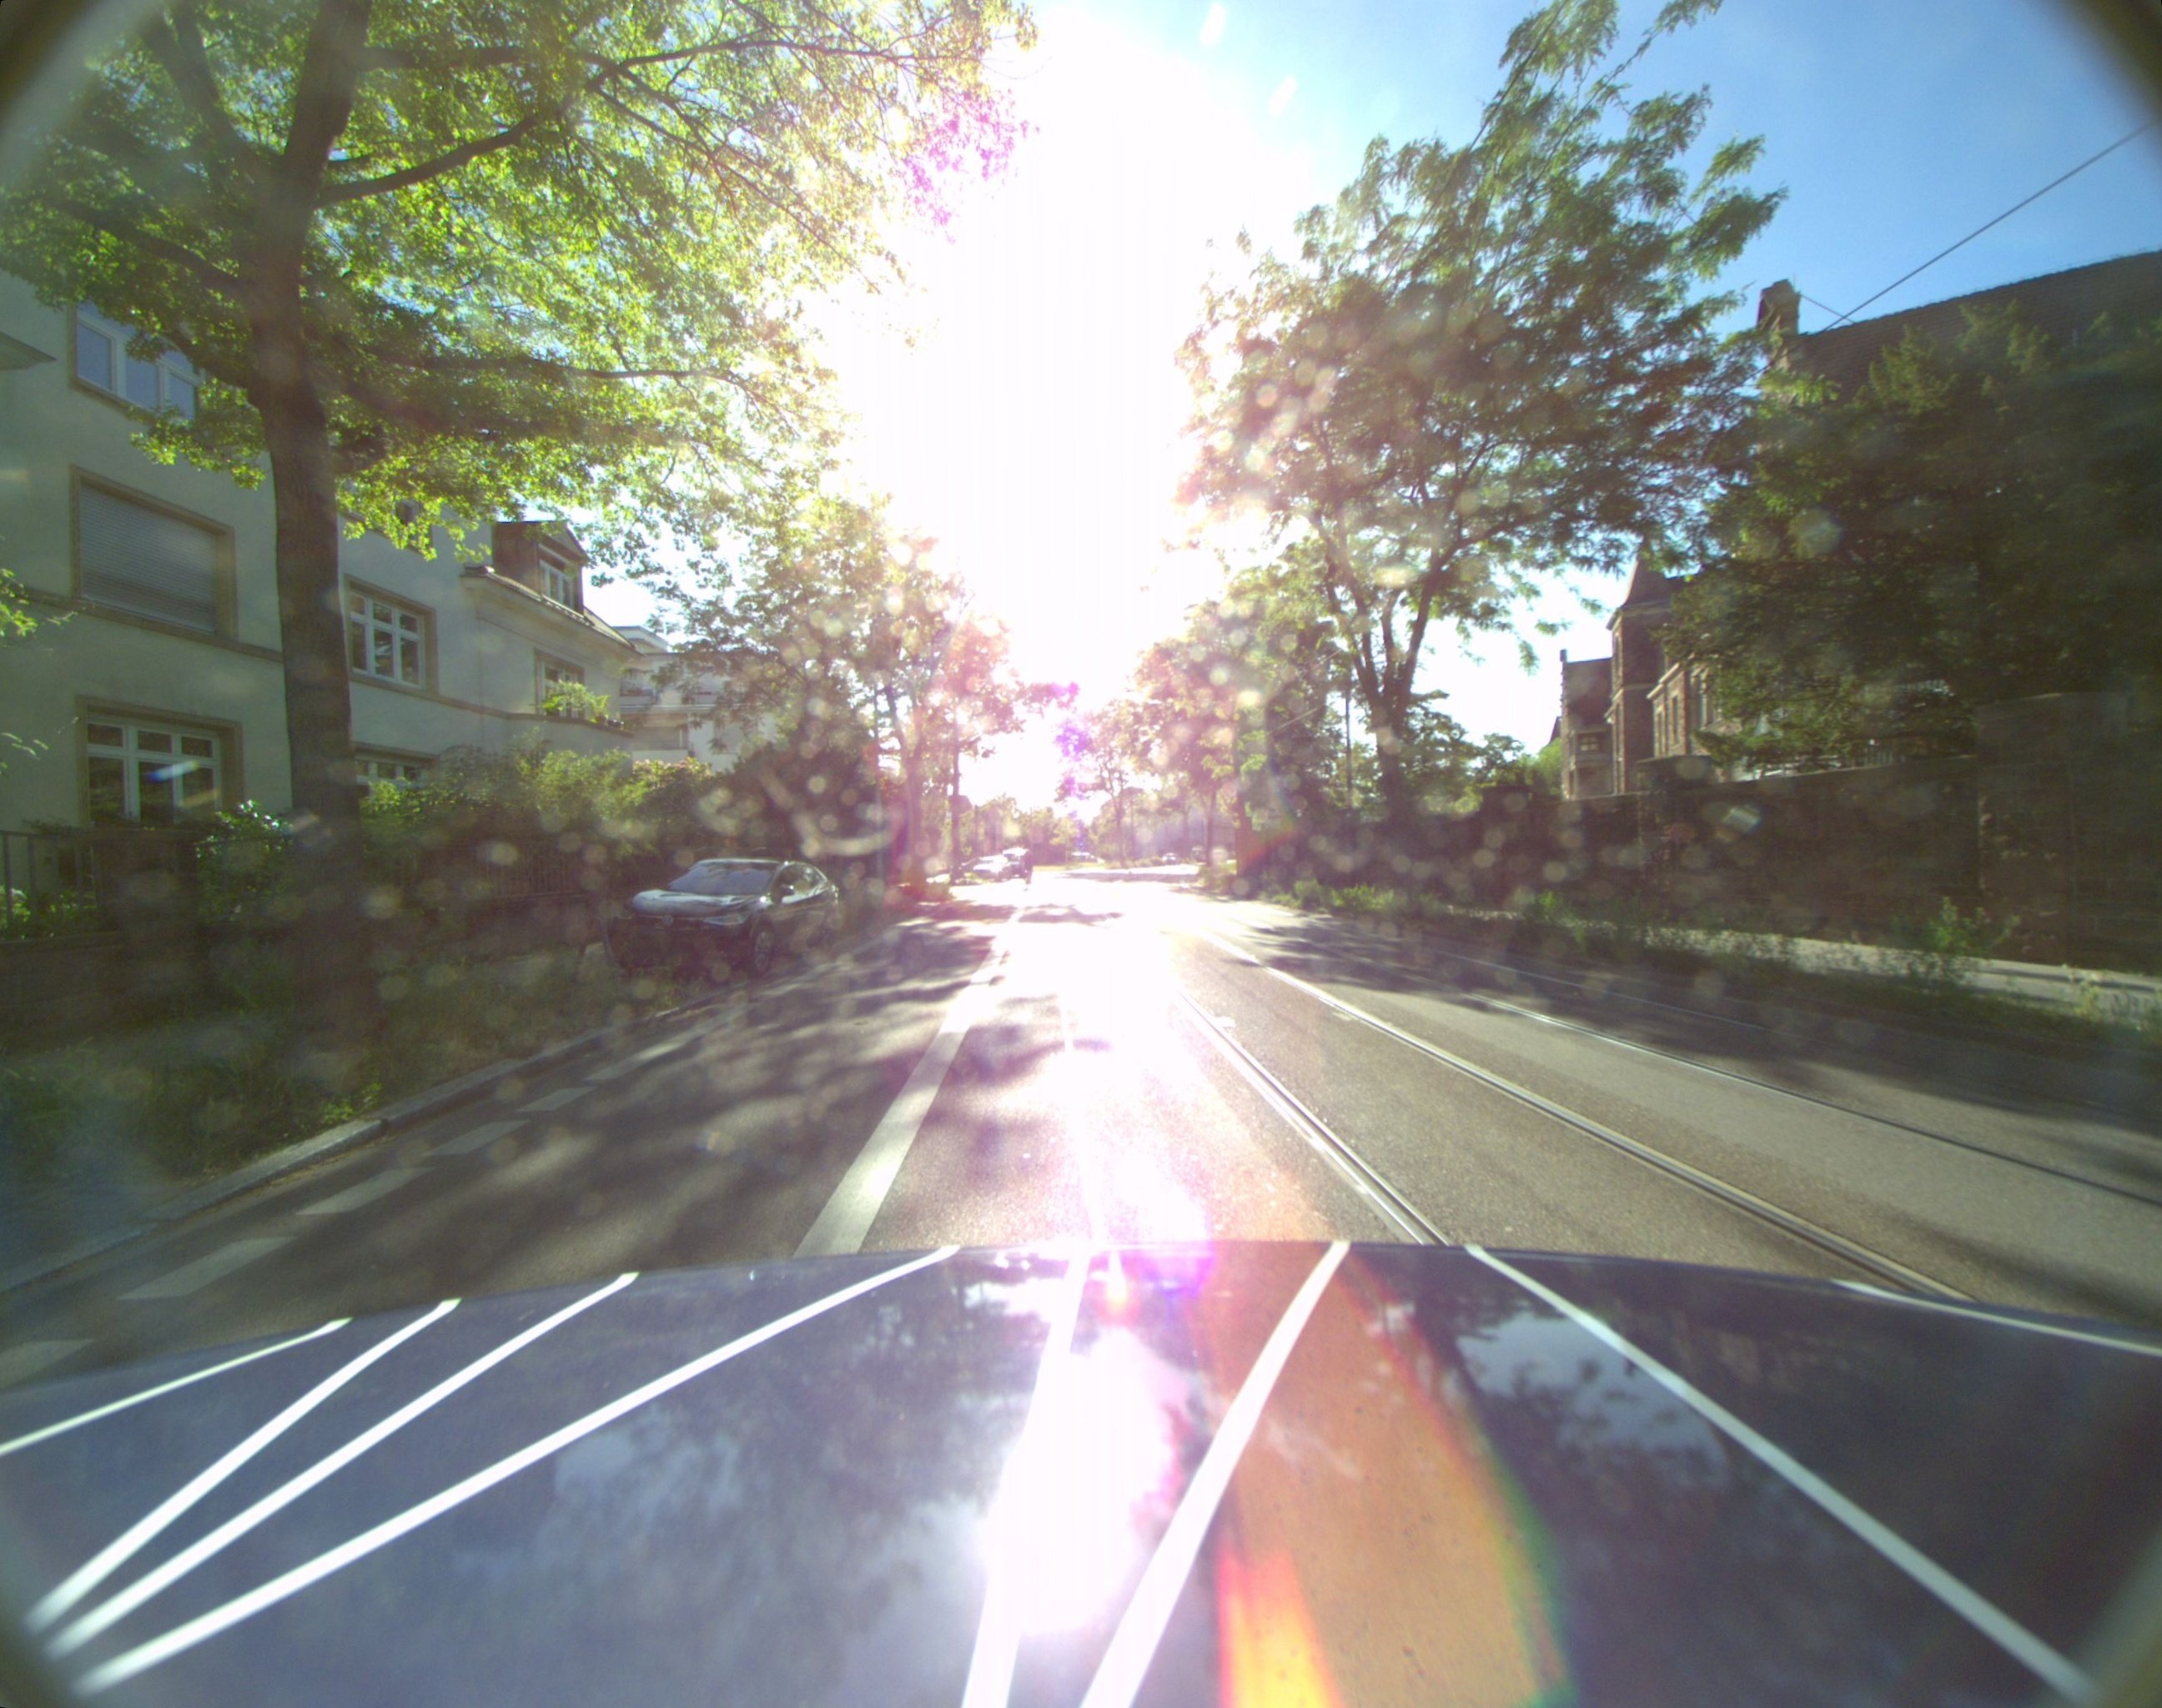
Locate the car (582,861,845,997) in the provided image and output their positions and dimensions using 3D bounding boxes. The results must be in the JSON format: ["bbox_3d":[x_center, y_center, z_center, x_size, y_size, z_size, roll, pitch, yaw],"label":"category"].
[{"bbox_3d":[-5.199,0.948,11.506,1.919,1.590,4.258,2,0,-1],"label":"car"}]

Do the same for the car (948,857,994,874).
[{"bbox_3d":[-10.042,1.052,69.538,3.998,1.433,1.813,-2,0,-3],"label":"car"}]

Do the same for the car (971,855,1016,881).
[{"bbox_3d":[-5.165,0.798,45.333,1.901,1.402,4.260,-1,0,4],"label":"car"}]

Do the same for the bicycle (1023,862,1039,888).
[{"bbox_3d":[-2.331,0.963,35.414,0.588,1.105,1.855,-2,0,1],"label":"bicycle"}]

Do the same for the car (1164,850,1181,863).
[{"bbox_3d":[11.915,0.326,98.720,1.997,1.539,4.002,-2,0,8],"label":"car"}]

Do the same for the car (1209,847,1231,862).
[{"bbox_3d":[18.052,0.009,98.440,1.874,1.805,4.974,-1,0,21],"label":"car"}]

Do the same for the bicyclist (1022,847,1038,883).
[{"bbox_3d":[-2.356,0.521,35.382,0.644,1.632,0.665,-2,1,0],"label":"bicyclist"}]

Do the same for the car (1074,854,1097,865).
[{"bbox_3d":[0.753,0.931,128.788,3.908,1.683,1.905,-1,0,-1],"label":"car"}]

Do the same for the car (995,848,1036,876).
[{"bbox_3d":[-4.403,0.511,51.688,1.900,1.775,4.670,-1,0,6],"label":"car"}]
